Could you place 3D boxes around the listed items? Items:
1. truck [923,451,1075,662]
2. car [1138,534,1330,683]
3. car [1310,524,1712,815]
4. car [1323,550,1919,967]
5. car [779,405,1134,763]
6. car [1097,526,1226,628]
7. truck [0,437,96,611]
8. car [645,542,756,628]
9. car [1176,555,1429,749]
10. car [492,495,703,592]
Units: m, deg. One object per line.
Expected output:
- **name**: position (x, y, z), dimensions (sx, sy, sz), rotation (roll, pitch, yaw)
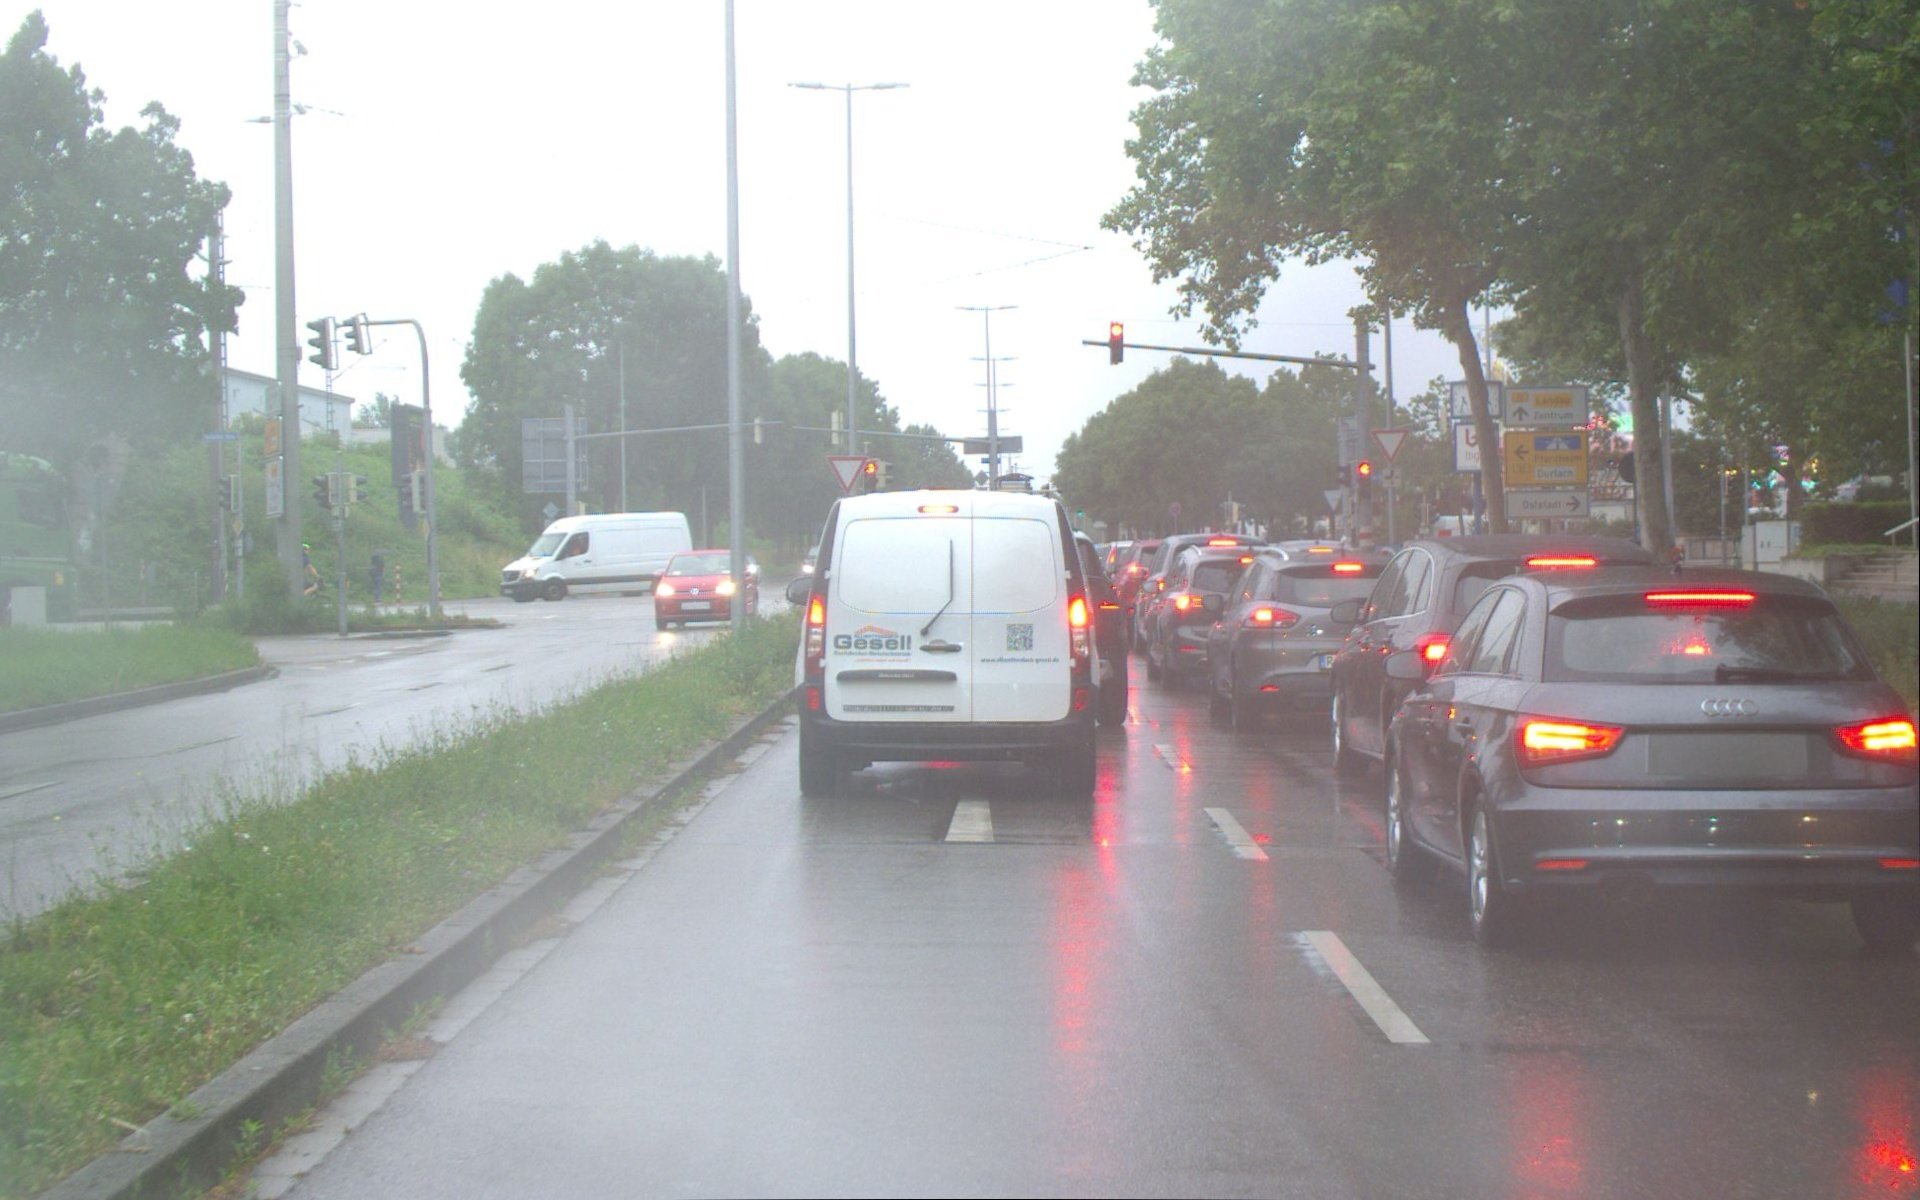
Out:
- **truck**: position (0.437, -0.534, 42.225), dimensions (1.756, 2.458, 4.000), rotation (0, 1, -1)
- **car**: position (2.786, 0.045, 35.610), dimensions (1.711, 1.440, 4.000), rotation (0, 1, 1)
- **car**: position (3.196, 0.335, 20.686), dimensions (1.708, 1.544, 4.001), rotation (0, 2, -1)
- **car**: position (2.732, 0.533, 14.027), dimensions (1.993, 1.447, 4.000), rotation (0, 1, -1)
- **car**: position (-0.050, -0.073, 21.359), dimensions (1.993, 2.007, 4.000), rotation (0, -1, -1)
- **car**: position (2.947, -0.375, 50.841), dimensions (1.711, 1.440, 4.000), rotation (0, 1, 1)
- **truck**: position (-22.356, -1.542, 67.609), dimensions (10.110, 3.440, 2.658), rotation (1, -1, -36)
- **car**: position (-4.911, -0.308, 65.426), dimensions (1.716, 1.508, 3.614), rotation (-2, 1, 1)
- **car**: position (2.737, 0.370, 28.188), dimensions (1.711, 1.440, 4.000), rotation (0, 1, 1)
- **car**: position (-10.709, -1.645, 101.800), dimensions (6.001, 2.734, 2.000), rotation (1, -1, -35)
